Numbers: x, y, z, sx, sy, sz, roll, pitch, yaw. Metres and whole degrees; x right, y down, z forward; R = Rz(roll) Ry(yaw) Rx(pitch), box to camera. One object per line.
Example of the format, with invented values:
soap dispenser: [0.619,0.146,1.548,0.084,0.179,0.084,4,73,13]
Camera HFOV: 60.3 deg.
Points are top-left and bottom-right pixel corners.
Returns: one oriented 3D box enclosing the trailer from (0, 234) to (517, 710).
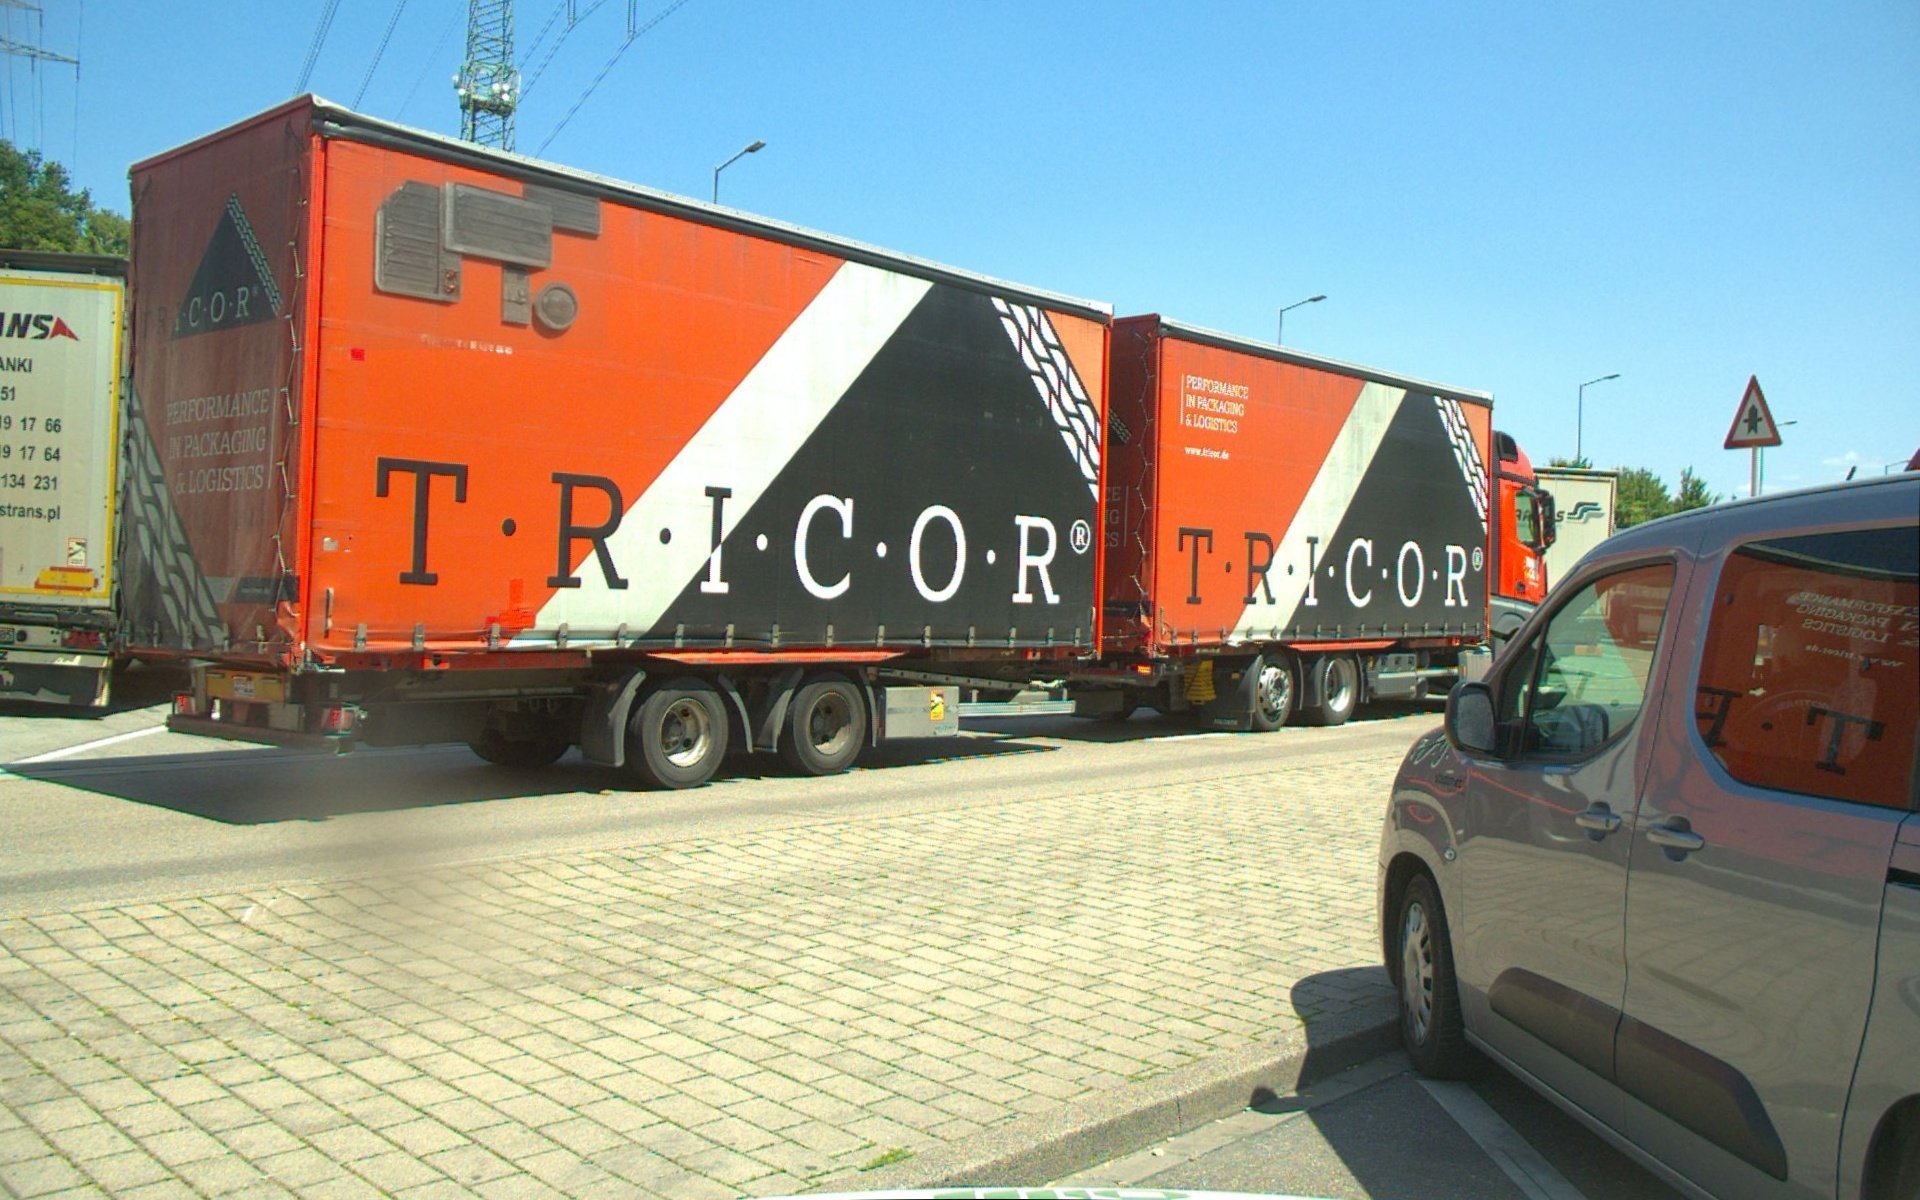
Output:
trailer: [-8.685,-1.260,21.026,2.694,4.128,13.285,1,1,-1]

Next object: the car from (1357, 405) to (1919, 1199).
car: [2.427,0.555,3.826,1.790,1.784,3.997,1,1,-4]

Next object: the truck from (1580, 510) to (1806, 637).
truck: [21.953,-0.814,50.194,2.963,3.497,8.529,1,1,-1]

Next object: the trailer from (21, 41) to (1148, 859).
trailer: [-2.166,-0.837,12.968,2.792,4.332,8.635,2,1,41]

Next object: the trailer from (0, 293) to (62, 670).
trailer: [-12.414,-1.311,15.458,2.689,4.337,9.733,1,1,0]

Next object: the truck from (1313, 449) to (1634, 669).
truck: [11.712,-0.961,40.003,2.846,4.195,14.525,3,1,-1]

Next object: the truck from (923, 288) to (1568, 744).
truck: [4.070,-0.819,20.107,2.645,4.199,10.545,1,1,41]

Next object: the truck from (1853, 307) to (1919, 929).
truck: [4.974,0.127,4.946,1.952,2.669,5.305,1,1,3]

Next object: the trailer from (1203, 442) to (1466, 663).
trailer: [8.200,-1.053,38.620,2.818,4.196,13.569,1,1,-1]
